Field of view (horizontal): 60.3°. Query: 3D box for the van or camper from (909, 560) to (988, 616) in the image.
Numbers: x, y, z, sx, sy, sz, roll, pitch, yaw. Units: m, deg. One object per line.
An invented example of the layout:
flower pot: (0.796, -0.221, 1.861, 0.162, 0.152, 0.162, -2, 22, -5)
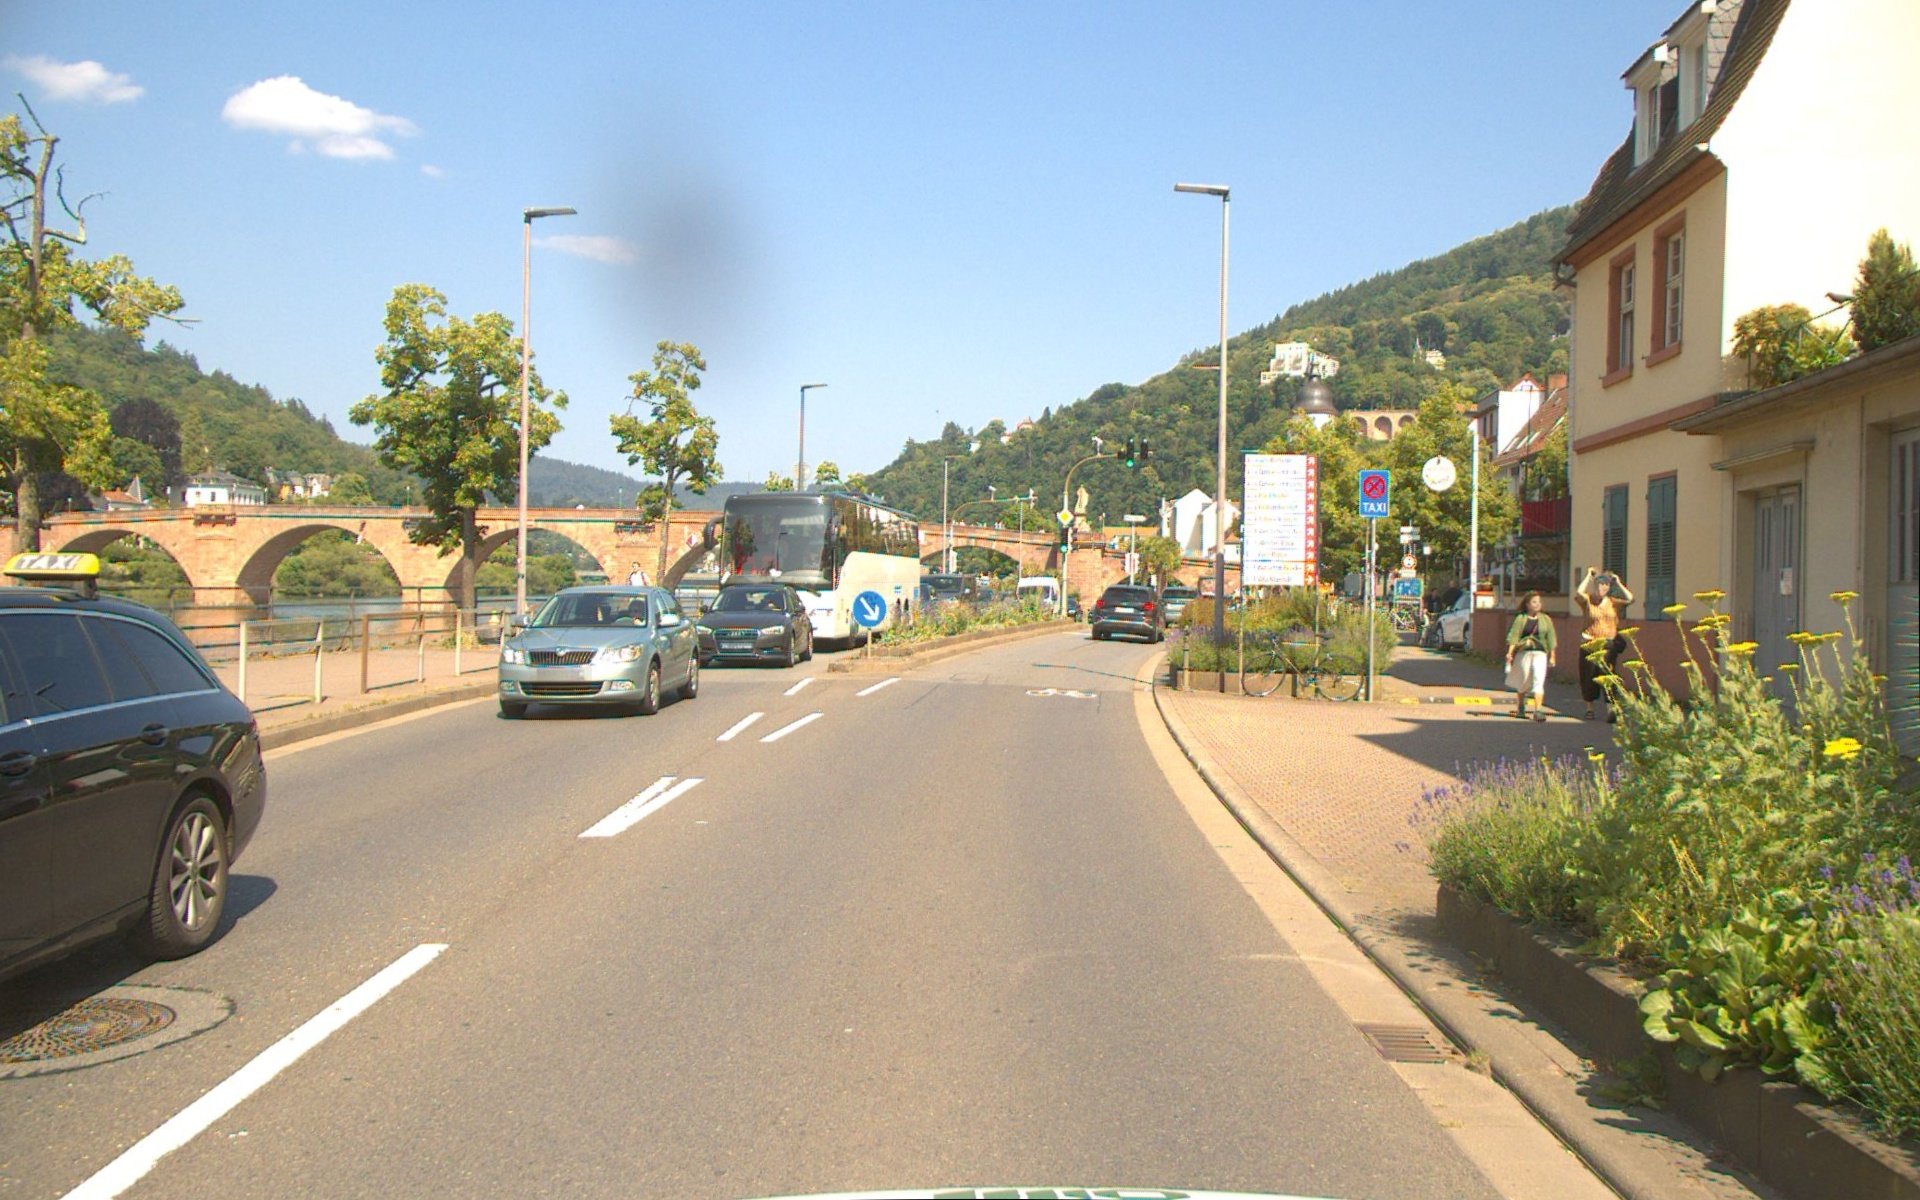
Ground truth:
van or camper: (-0.360, -0.406, 58.928, 1.951, 1.906, 5.184, 0, 0, 9)

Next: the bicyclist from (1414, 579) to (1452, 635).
bicyclist: (13.859, 0.191, 48.497, 0.751, 1.611, 1.088, 1, 0, -3)

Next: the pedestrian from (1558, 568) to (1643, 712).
pedestrian: (7.831, 0.473, 20.260, 0.722, 1.728, 0.934, 0, 0, 3)

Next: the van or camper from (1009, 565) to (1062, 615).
van or camper: (4.007, -0.496, 87.114, 1.951, 2.493, 5.499, -1, -1, 11)

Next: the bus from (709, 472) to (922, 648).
bus: (-3.143, -0.795, 40.646, 2.575, 3.626, 12.992, 1, 0, 7)

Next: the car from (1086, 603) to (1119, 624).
car: (10.535, 1.000, 122.227, 1.910, 1.437, 4.222, -1, -2, 11)

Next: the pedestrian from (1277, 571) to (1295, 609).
pedestrian: (14.773, -0.434, 74.962, 0.679, 1.706, 0.764, -1, 0, 3)

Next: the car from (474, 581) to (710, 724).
car: (-4.216, 0.531, 19.654, 1.776, 1.453, 4.311, -1, 1, 1)

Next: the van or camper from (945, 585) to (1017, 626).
van or camper: (0.870, 0.236, 63.829, 1.951, 1.502, 5.069, -1, 0, 10)

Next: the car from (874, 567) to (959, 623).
car: (-1.320, -0.154, 52.422, 1.951, 1.626, 5.161, -2, 0, 6)

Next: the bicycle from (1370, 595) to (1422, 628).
bicycle: (18.013, 0.467, 68.354, 1.958, 1.219, 0.521, 3, 1, 23)

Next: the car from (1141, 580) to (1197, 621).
car: (7.960, 0.002, 62.711, 1.885, 1.486, 4.836, 1, 1, 10)

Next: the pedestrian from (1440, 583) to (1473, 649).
pedestrian: (14.309, 0.452, 47.698, 0.746, 1.890, 0.610, -1, 0, 3)

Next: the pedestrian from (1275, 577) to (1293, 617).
pedestrian: (14.710, -0.136, 75.057, 0.679, 1.802, 0.764, -1, 0, 3)

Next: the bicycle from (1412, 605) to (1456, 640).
bicycle: (13.837, 0.636, 48.300, 0.734, 0.981, 1.782, 1, 0, -1)

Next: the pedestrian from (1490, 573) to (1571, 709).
pedestrian: (6.974, 0.490, 20.242, 0.746, 1.623, 0.696, 1, 0, 3)

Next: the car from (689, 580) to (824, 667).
car: (-3.614, 0.376, 30.003, 1.779, 1.454, 4.194, 0, 1, 2)

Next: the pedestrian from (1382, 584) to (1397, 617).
pedestrian: (22.318, 0.030, 85.886, 0.692, 1.682, 0.707, 1, 0, 11)

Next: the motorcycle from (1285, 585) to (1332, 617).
motorcycle: (16.572, 0.069, 78.726, 0.756, 1.491, 2.267, 1, -1, -38)

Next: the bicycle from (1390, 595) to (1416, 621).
bicycle: (18.783, 0.343, 70.113, 0.583, 1.086, 2.061, 0, 0, 29)

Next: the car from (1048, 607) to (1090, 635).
car: (6.240, 1.194, 94.160, 1.779, 1.481, 4.933, -1, 0, 10)

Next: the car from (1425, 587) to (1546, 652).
car: (13.871, 0.481, 43.896, 1.838, 1.605, 4.728, 1, 0, 2)

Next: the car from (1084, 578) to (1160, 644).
car: (4.540, 0.252, 46.014, 1.886, 1.579, 4.836, 4, 1, 6)

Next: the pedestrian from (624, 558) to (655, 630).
pedestrian: (-8.206, -0.145, 42.308, 0.607, 1.811, 0.662, 1, 0, 3)

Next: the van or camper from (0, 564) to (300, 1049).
van or camper: (-3.924, 0.647, 5.215, 1.953, 1.480, 4.680, -1, 0, -2)

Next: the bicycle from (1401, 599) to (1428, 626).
bicycle: (19.175, 0.528, 69.772, 0.583, 1.086, 2.061, 0, -1, 29)

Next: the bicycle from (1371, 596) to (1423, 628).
bicycle: (18.189, 0.486, 68.832, 1.971, 1.219, 0.521, 3, 1, 23)

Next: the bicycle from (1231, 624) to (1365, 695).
bicycle: (4.795, 0.843, 23.518, 1.773, 0.893, 0.502, 3, 1, -1)
